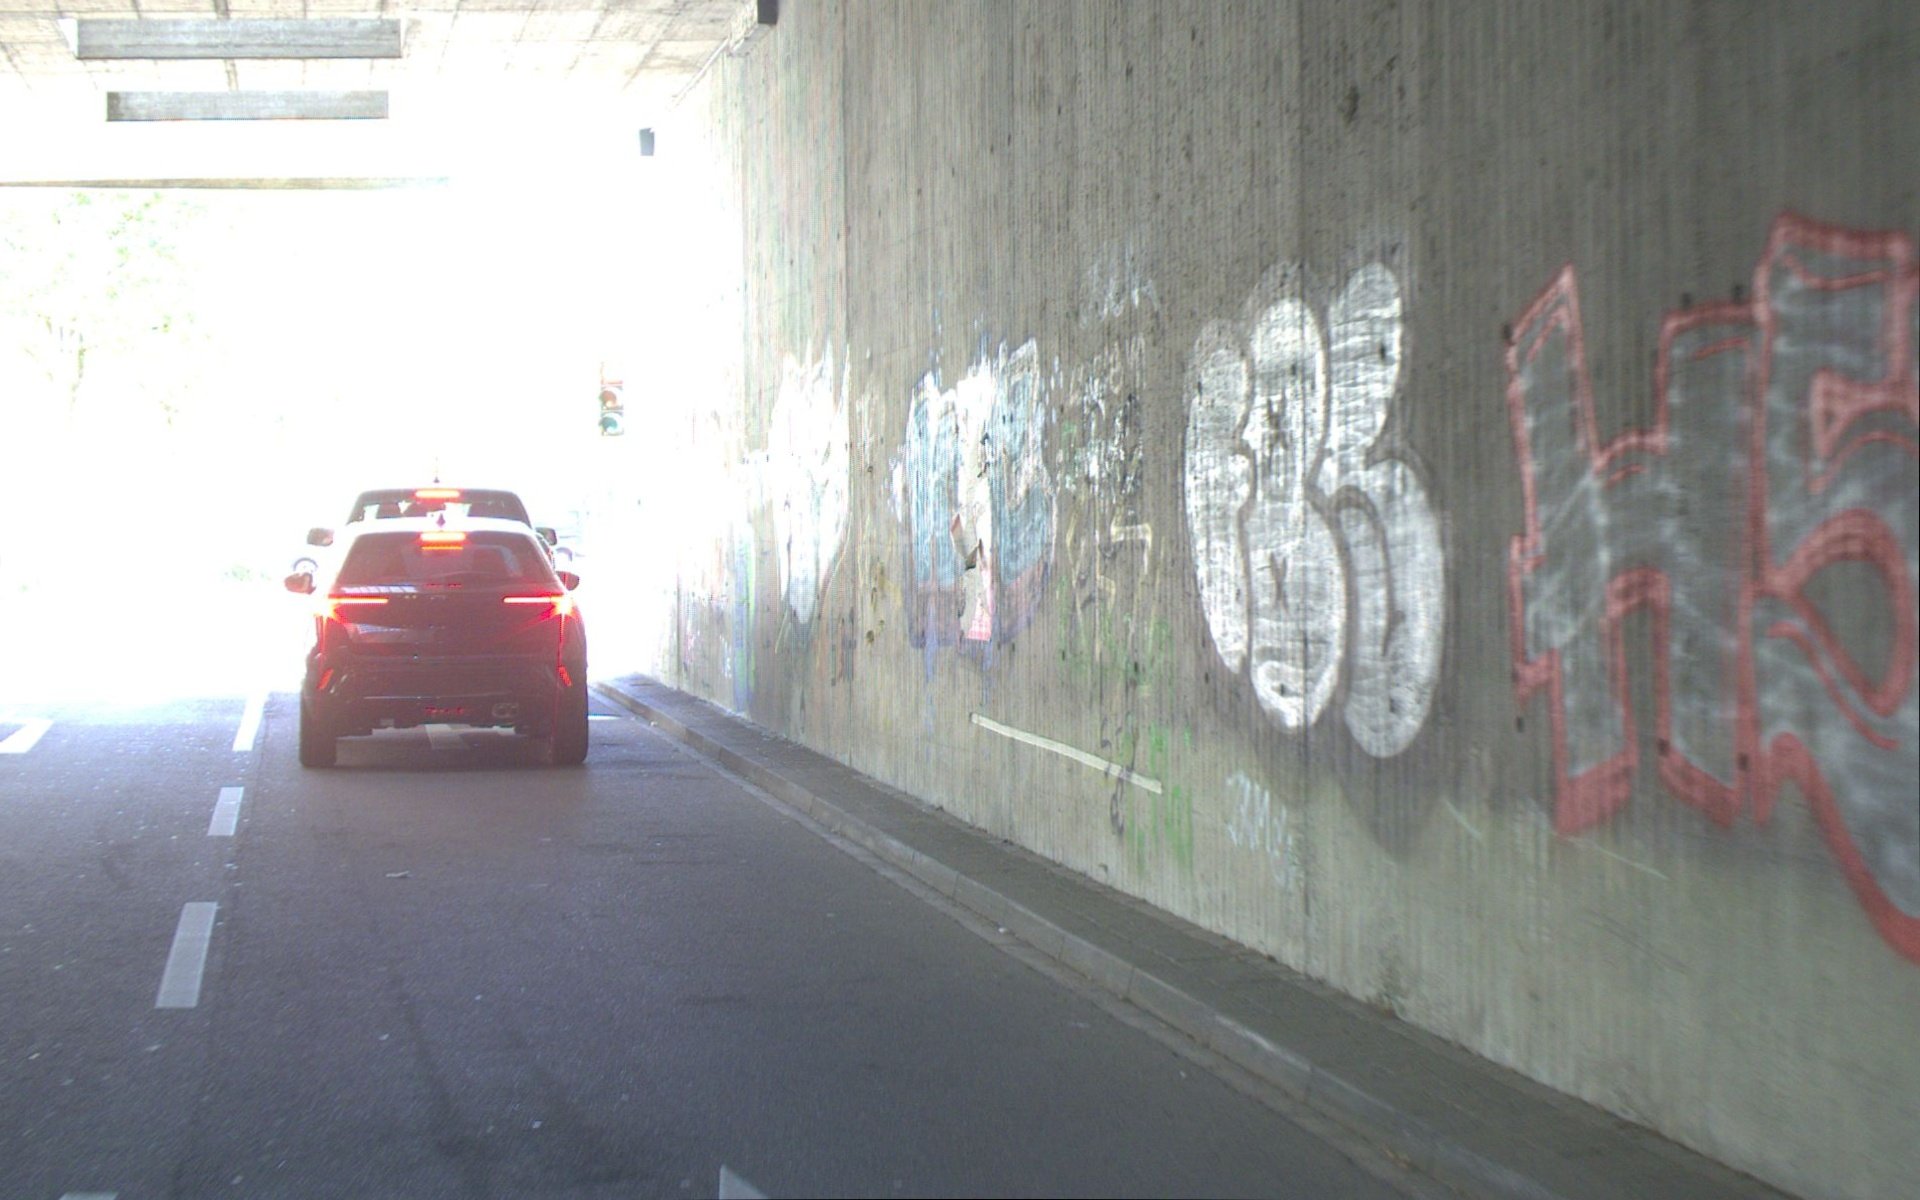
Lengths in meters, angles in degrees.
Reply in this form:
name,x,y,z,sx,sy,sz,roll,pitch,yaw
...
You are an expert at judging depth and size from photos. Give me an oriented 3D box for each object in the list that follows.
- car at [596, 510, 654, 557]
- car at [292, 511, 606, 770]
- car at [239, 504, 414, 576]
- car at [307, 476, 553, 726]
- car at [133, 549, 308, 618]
name,x,y,z,sx,sy,sz,roll,pitch,yaw
car,-14.897,-2.980,153.023,1.993,2.006,4.269,-1,2,2
car,-3.417,0.183,22.622,1.825,1.496,4.212,-1,2,-10
car,-16.230,-1.549,88.221,4.150,1.733,2.000,-2,2,-3
car,-4.508,-0.058,28.762,1.814,1.876,4.587,-2,2,-11
car,-17.927,-0.406,83.491,3.986,1.568,1.640,-1,1,-6
